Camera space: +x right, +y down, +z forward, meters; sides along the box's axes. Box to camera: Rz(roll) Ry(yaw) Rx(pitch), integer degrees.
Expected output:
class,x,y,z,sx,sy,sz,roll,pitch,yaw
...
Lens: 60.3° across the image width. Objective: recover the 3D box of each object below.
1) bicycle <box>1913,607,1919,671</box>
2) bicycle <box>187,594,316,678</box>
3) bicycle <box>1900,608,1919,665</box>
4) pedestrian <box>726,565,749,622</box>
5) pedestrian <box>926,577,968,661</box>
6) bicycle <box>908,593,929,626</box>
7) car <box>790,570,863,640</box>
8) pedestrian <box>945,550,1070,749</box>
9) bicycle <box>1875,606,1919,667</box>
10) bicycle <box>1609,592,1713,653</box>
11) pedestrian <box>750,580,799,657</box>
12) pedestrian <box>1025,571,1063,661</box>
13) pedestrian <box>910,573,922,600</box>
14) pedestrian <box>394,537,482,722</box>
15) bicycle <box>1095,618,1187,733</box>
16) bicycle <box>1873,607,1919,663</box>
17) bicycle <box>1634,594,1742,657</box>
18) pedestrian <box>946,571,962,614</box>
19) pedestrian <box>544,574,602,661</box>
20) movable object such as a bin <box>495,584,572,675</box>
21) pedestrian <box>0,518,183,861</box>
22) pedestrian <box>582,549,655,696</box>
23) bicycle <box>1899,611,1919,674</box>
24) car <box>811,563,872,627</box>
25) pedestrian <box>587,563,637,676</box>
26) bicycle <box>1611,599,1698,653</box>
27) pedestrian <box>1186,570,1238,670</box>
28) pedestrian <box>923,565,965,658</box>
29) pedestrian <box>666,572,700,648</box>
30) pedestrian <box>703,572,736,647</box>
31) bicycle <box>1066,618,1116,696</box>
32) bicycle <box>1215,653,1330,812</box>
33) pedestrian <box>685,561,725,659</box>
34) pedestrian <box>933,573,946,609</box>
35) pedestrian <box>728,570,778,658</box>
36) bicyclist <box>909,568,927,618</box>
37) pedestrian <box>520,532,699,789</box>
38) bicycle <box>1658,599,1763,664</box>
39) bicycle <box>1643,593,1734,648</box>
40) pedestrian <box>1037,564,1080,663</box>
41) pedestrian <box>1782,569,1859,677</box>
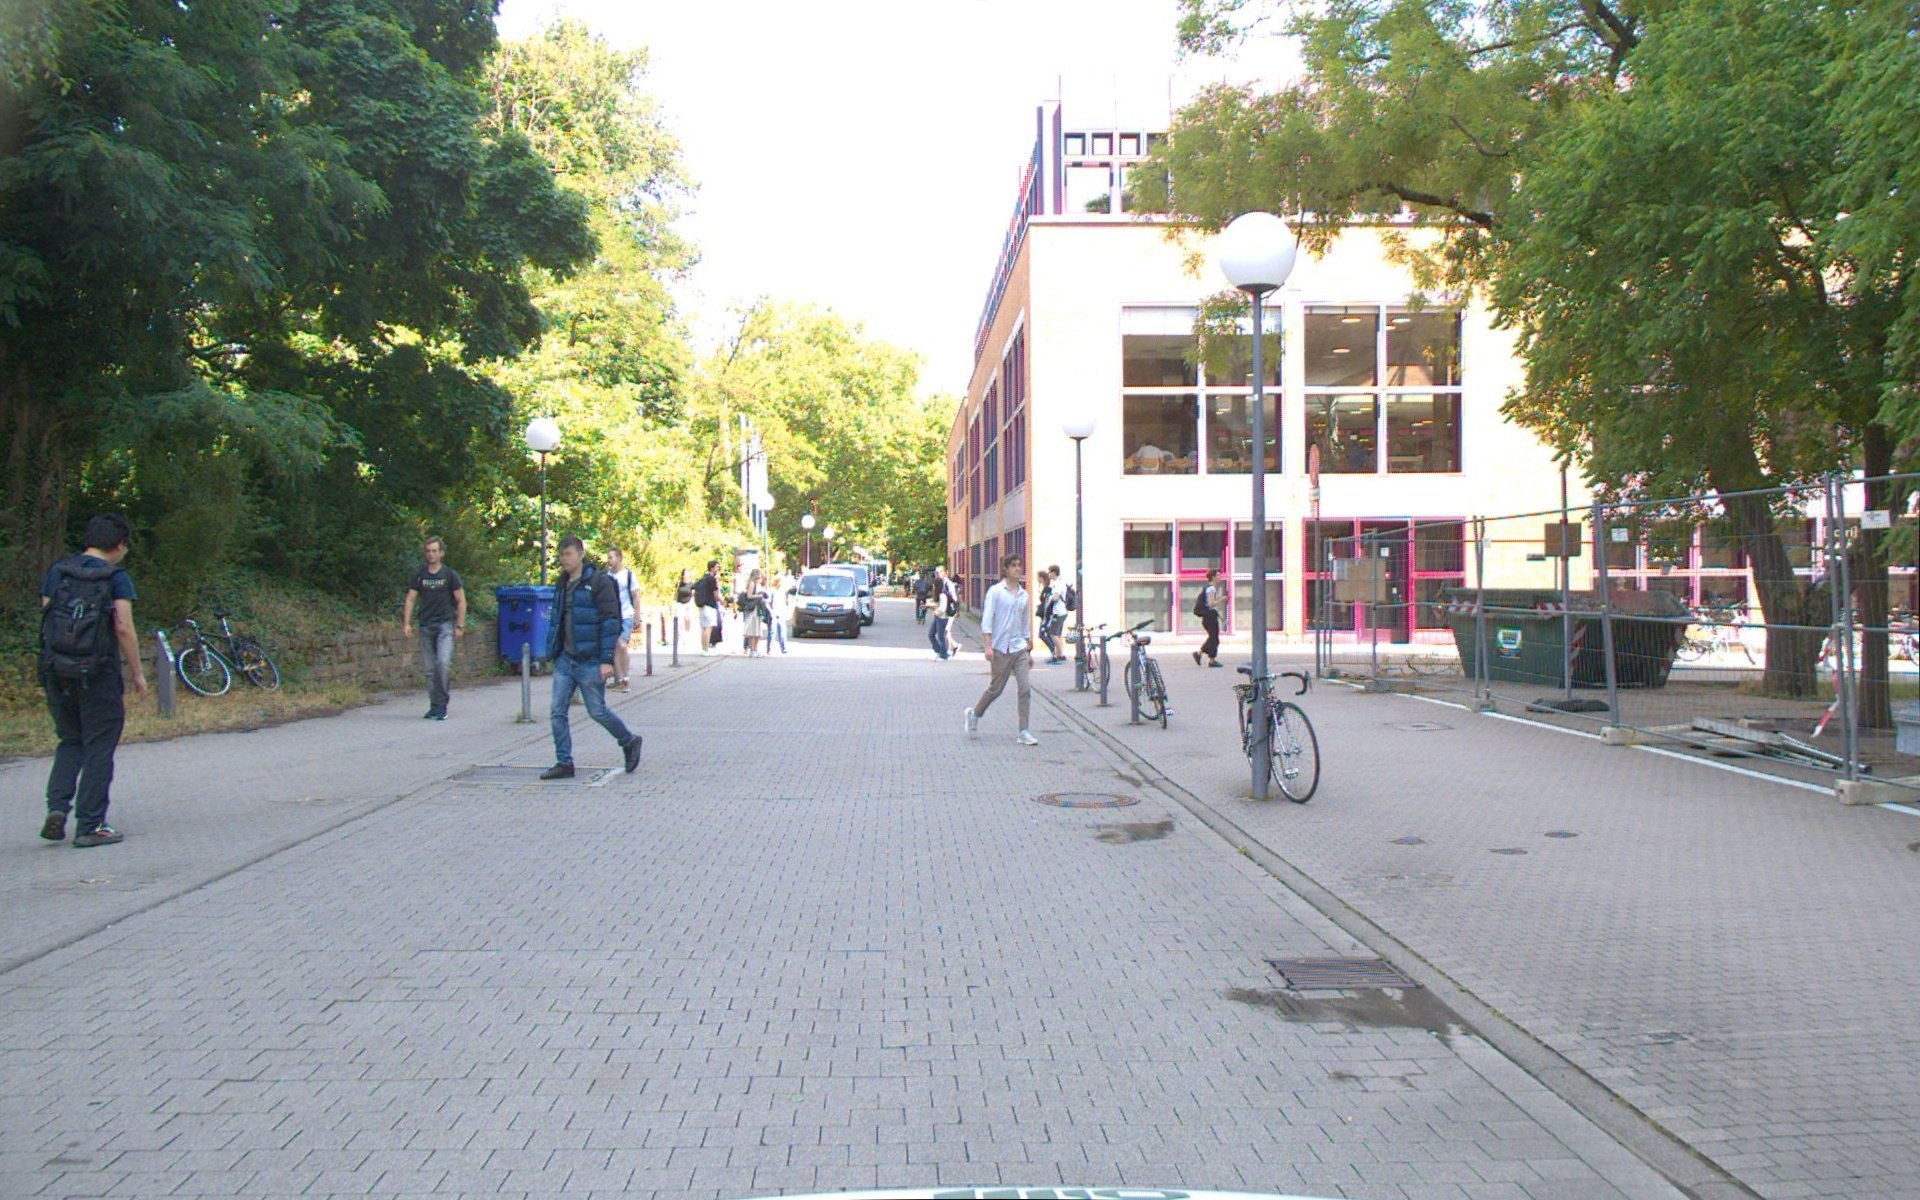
class,x,y,z,sx,sy,sz,roll,pitch,yaw
bicycle,18.900,0.766,31.014,1.770,1.189,0.474,2,0,-2
bicycle,-8.165,0.414,19.136,0.412,0.926,1.741,0,-1,13
bicycle,21.090,0.793,35.169,1.957,1.189,0.474,2,0,-4
pedestrian,-7.316,-0.212,54.395,0.669,1.876,0.783,1,0,-2
pedestrian,-0.262,0.377,32.882,0.765,1.649,0.684,1,0,-5
bicycle,-1.444,0.311,57.144,0.575,1.102,1.905,0,1,-5
car,-3.541,0.093,44.455,1.754,1.792,4.479,0,1,-2
pedestrian,0.453,0.457,16.271,0.774,1.877,1.108,1,0,-27
bicycle,19.192,0.745,33.096,1.778,1.189,0.471,2,0,-19
bicycle,13.507,0.425,31.881,1.773,1.129,0.523,1,0,-3
pedestrian,-3.811,0.377,34.011,0.867,1.569,0.743,0,0,3
pedestrian,1.606,0.305,31.579,0.682,1.702,0.588,-1,-1,5
pedestrian,-2.800,-0.845,105.410,0.710,1.702,0.748,-1,-1,-1
pedestrian,-5.547,0.309,17.625,0.669,1.905,1.119,1,0,-7
bicycle,1.889,0.767,17.509,0.694,1.112,1.748,0,1,-3
bicycle,21.062,0.784,36.140,1.957,1.189,0.474,2,0,-4
bicycle,13.735,0.476,31.228,1.772,1.129,0.524,1,0,1
pedestrian,-0.238,-0.303,65.767,0.574,1.702,0.699,-1,-1,-1
pedestrian,-7.386,0.332,31.594,0.897,1.639,0.570,1,0,24
movable object such as a bin,-6.663,0.445,25.861,0.694,1.359,1.240,3,1,8
pedestrian,-4.746,0.455,8.951,0.670,1.754,0.903,1,0,-4
pedestrian,-4.578,0.292,22.219,0.709,1.914,1.082,1,0,1
bicycle,18.973,0.832,31.640,1.770,1.189,0.474,2,0,-4
car,-3.926,-0.201,55.453,1.846,2.008,5.213,0,1,-2
pedestrian,-5.534,0.296,26.330,0.669,1.758,1.001,0,0,-6
bicycle,15.275,0.571,36.389,1.772,1.129,0.473,1,0,-8
pedestrian,4.326,0.344,28.390,0.834,1.680,0.588,1,0,5
pedestrian,-0.329,0.232,33.675,0.809,1.876,0.684,1,0,-5
pedestrian,-6.115,0.212,36.494,0.669,1.649,0.977,1,0,-7
pedestrian,-5.348,0.208,36.781,0.669,1.649,0.912,1,0,-7
bicycle,1.811,0.776,23.050,0.441,0.978,1.739,-2,1,-3
bicycle,2.189,0.897,11.747,0.388,0.952,1.731,-2,1,-3
pedestrian,-4.980,0.200,32.315,0.669,1.876,0.783,1,0,-2
pedestrian,-0.999,-0.441,79.784,0.574,1.702,0.817,-1,-1,-1
pedestrian,-4.074,0.275,32.574,0.867,1.702,0.559,1,0,5
bicyclist,-1.445,-0.245,57.161,0.575,1.746,0.665,0,0,-6
pedestrian,-2.704,0.437,12.834,0.869,1.890,1.030,1,0,30
bicycle,13.651,0.567,30.102,1.659,1.129,0.474,1,0,1
bicycle,15.478,0.435,35.154,1.772,1.129,0.473,1,0,-8
pedestrian,1.838,0.254,30.936,0.750,1.826,0.588,-1,-1,5
pedestrian,14.306,0.386,27.512,0.885,1.758,0.683,0,-2,-7
